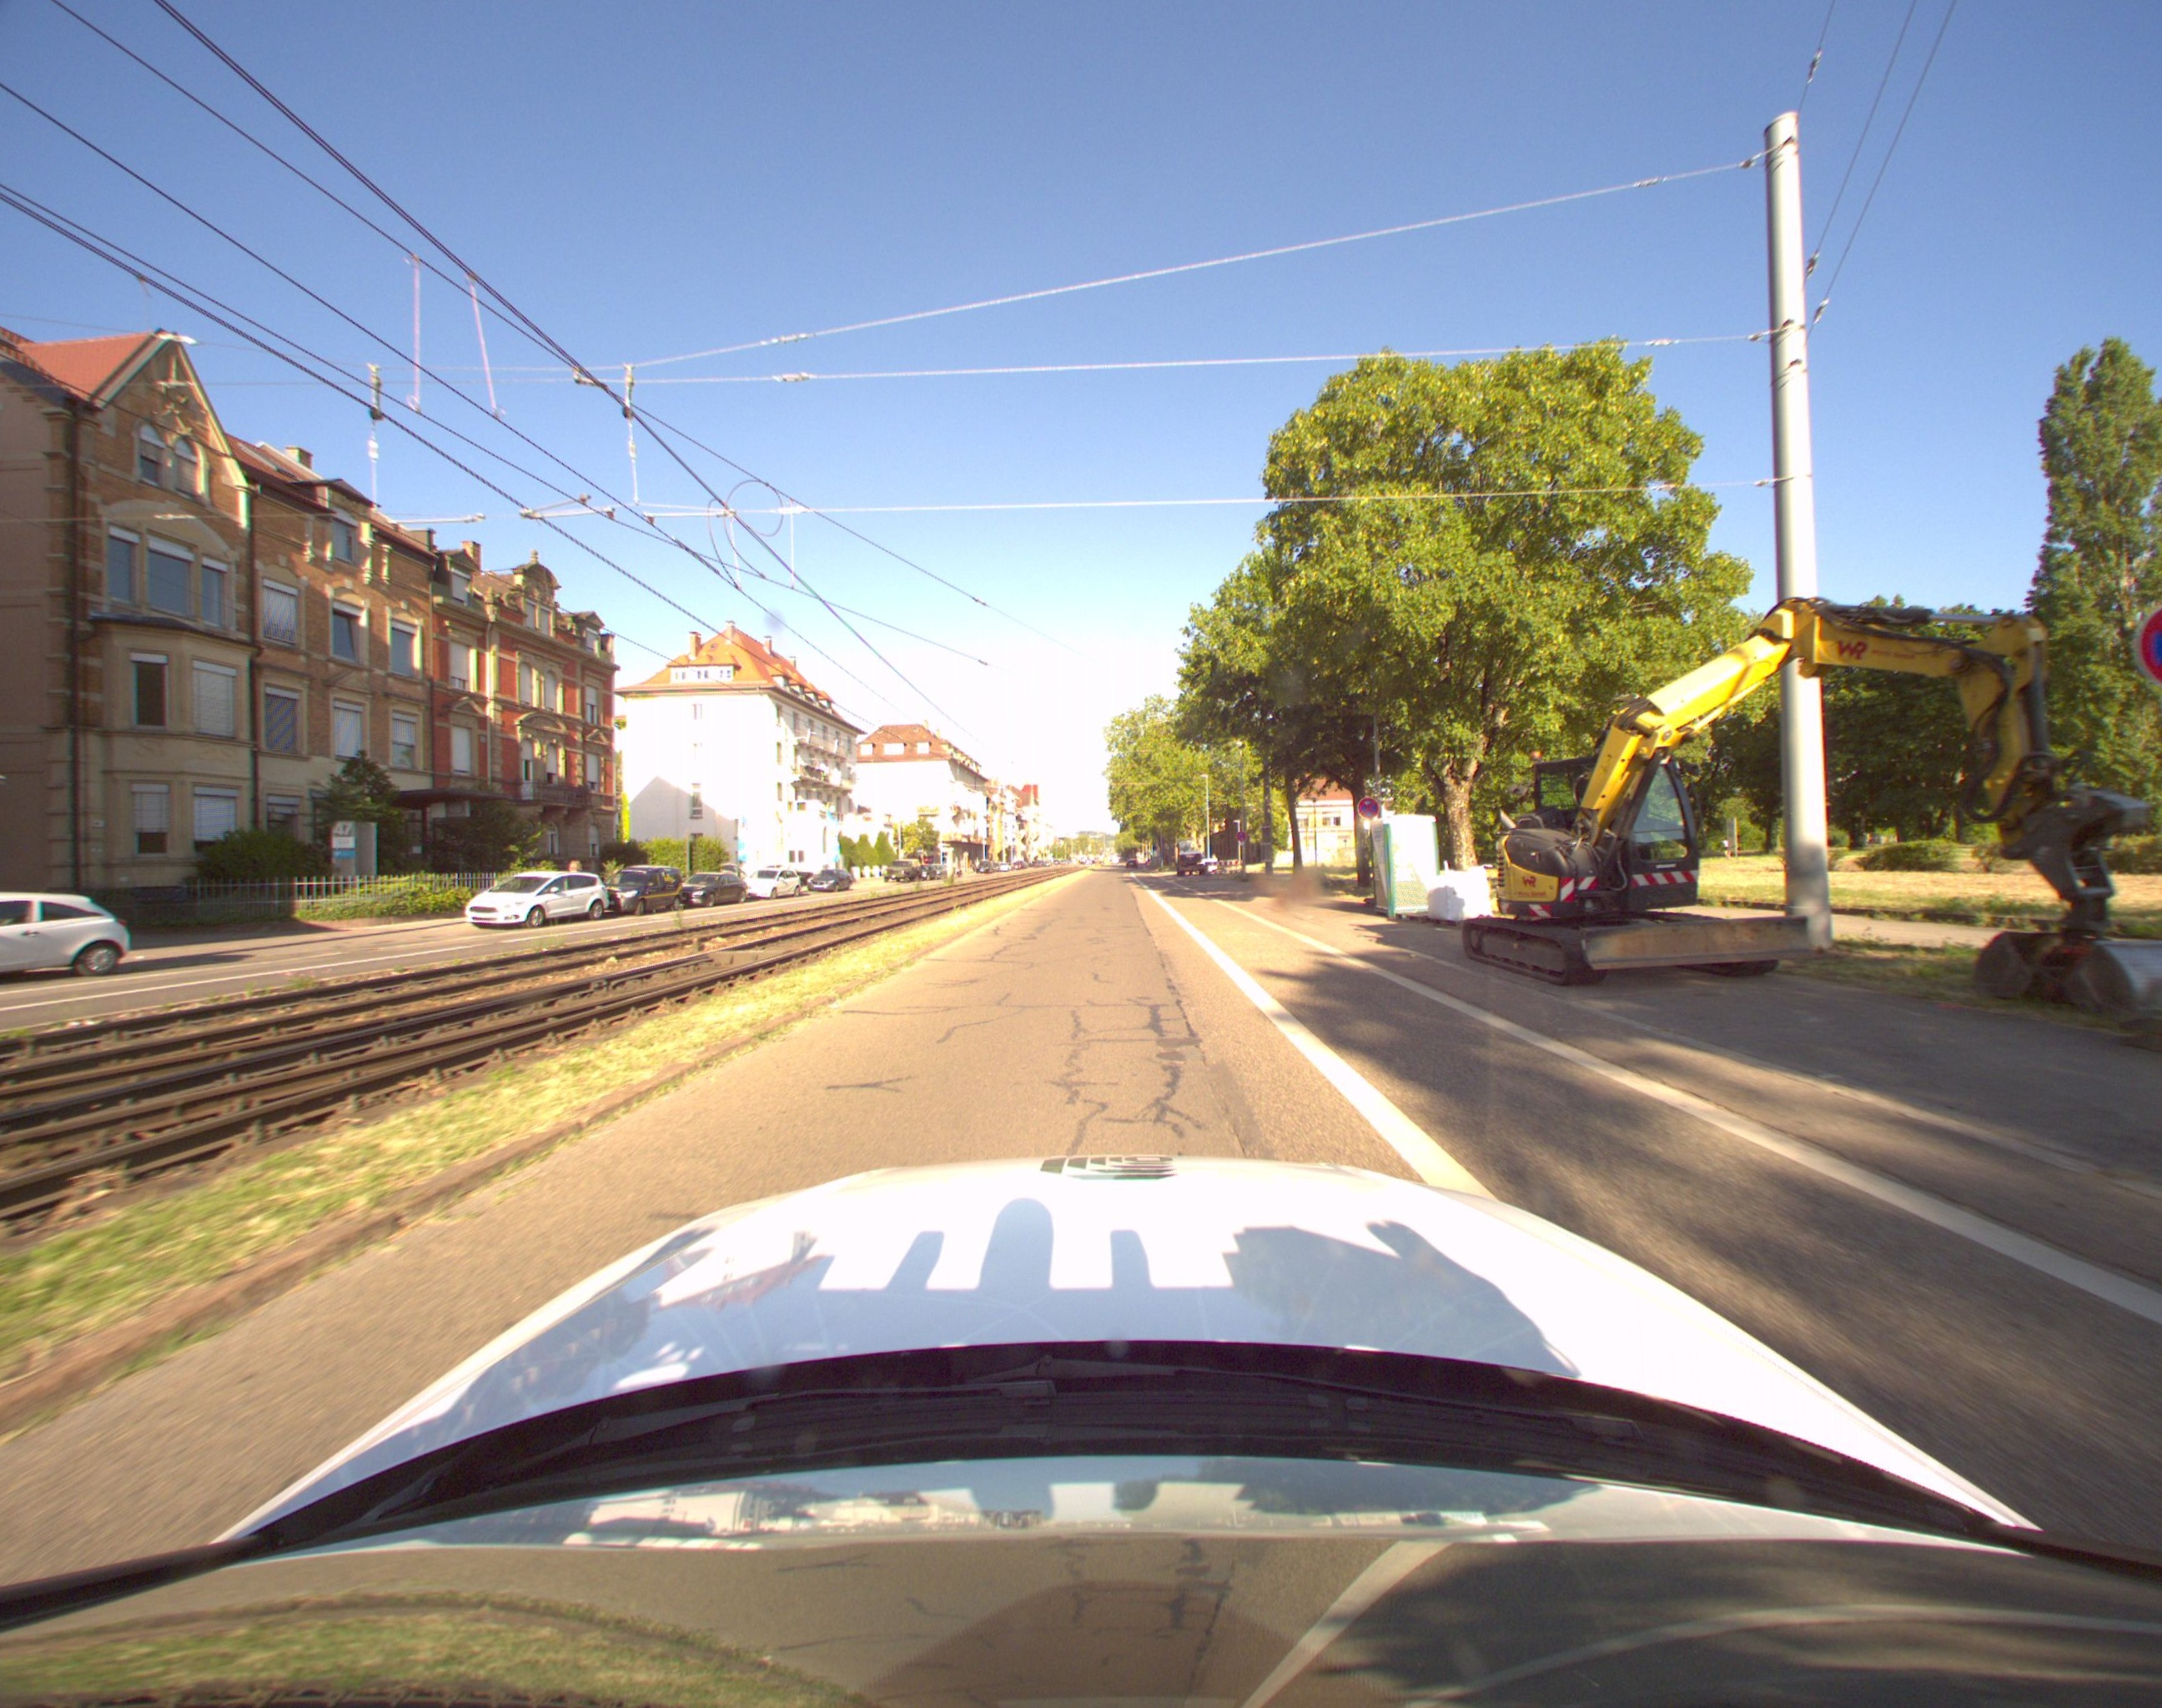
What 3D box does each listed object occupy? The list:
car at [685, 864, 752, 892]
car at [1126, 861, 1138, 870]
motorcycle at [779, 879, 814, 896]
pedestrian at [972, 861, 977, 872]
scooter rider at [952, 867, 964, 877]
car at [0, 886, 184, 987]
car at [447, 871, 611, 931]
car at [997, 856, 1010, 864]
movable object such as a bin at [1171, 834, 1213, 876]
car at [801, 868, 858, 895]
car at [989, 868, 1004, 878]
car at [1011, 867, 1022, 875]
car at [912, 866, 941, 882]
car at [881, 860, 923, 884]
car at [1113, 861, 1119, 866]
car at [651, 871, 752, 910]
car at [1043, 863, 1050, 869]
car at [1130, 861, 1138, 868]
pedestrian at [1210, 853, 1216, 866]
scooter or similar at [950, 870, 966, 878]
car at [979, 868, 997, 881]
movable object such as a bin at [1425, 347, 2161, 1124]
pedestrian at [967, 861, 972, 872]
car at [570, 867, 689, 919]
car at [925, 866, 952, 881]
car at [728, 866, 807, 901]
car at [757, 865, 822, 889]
[{"bbox_3d":[-23.563,1.579,53.134,1.894,1.655,4.569,-2,-2,6],"label":"car"},{"bbox_3d":[8.452,1.890,135.356,1.826,1.391,4.160,-1,-1,2],"label":"car"},{"bbox_3d":[-16.577,1.946,47.487,0.820,0.954,2.160,0,-1,16],"label":"motorcycle"},{"bbox_3d":[-15.815,1.877,120.943,0.586,1.697,0.858,0,-2,4],"label":"pedestrian"},{"bbox_3d":[-13.628,2.009,90.130,0.966,1.089,0.813,-3,-1,33],"label":"scooter rider"},{"bbox_3d":[-18.195,1.368,13.277,1.913,1.538,4.628,0,-1,1],"label":"car"},{"bbox_3d":[-17.422,1.421,26.061,1.913,1.684,4.630,0,0,3],"label":"car"},{"bbox_3d":[-13.319,1.033,140.151,1.628,1.469,4.162,0,0,3],"label":"car"},{"bbox_3d":[9.116,0.090,67.472,2.732,3.145,7.225,-5,-1,3],"label":"movable object such as a bin"},{"bbox_3d":[-15.962,1.724,51.965,1.914,1.461,4.842,4,0,1],"label":"car"},{"bbox_3d":[-12.946,2.968,125.341,1.629,1.469,4.160,2,-1,2],"label":"car"},{"bbox_3d":[-12.043,3.144,152.406,1.829,1.391,4.032,2,-1,-2],"label":"car"},{"bbox_3d":[-14.622,1.887,77.267,1.628,1.507,4.163,0,-1,4],"label":"car"},{"bbox_3d":[-15.589,1.543,71.217,2.067,2.010,5.598,0,-1,4],"label":"car"},{"bbox_3d":[10.128,2.802,238.274,1.787,1.510,4.001,0,-1,2],"label":"car"},{"bbox_3d":[-16.775,1.563,36.329,1.912,1.561,4.848,0,0,5],"label":"car"},{"bbox_3d":[-9.192,3.222,219.322,1.789,1.510,3.997,2,-1,-2],"label":"car"},{"bbox_3d":[12.839,2.474,195.877,1.787,1.510,4.001,-1,-1,2],"label":"car"},{"bbox_3d":[18.768,0.769,115.392,0.606,1.682,0.636,-5,-1,0],"label":"pedestrian"},{"bbox_3d":[-13.657,2.212,90.148,1.549,0.770,0.813,-3,-1,33],"label":"scooter or similar"},{"bbox_3d":[-13.070,2.839,114.515,1.855,1.786,4.403,0,0,1],"label":"car"},{"bbox_3d":[6.758,-0.689,8.012,3.327,3.976,7.598,-4,-1,0],"label":"movable object such as a bin"},{"bbox_3d":[-16.510,1.871,120.969,0.586,1.697,0.858,0,-2,4],"label":"pedestrian"},{"bbox_3d":[-17.057,1.428,31.086,1.913,1.781,4.500,0,0,2],"label":"car"},{"bbox_3d":[-14.543,1.969,83.229,1.786,1.510,4.004,0,-1,4],"label":"car"},{"bbox_3d":[-16.381,1.511,42.837,1.912,1.694,4.848,0,0,5],"label":"car"},{"bbox_3d":[-21.907,1.714,61.240,4.101,1.633,1.958,-2,1,11],"label":"car"}]
